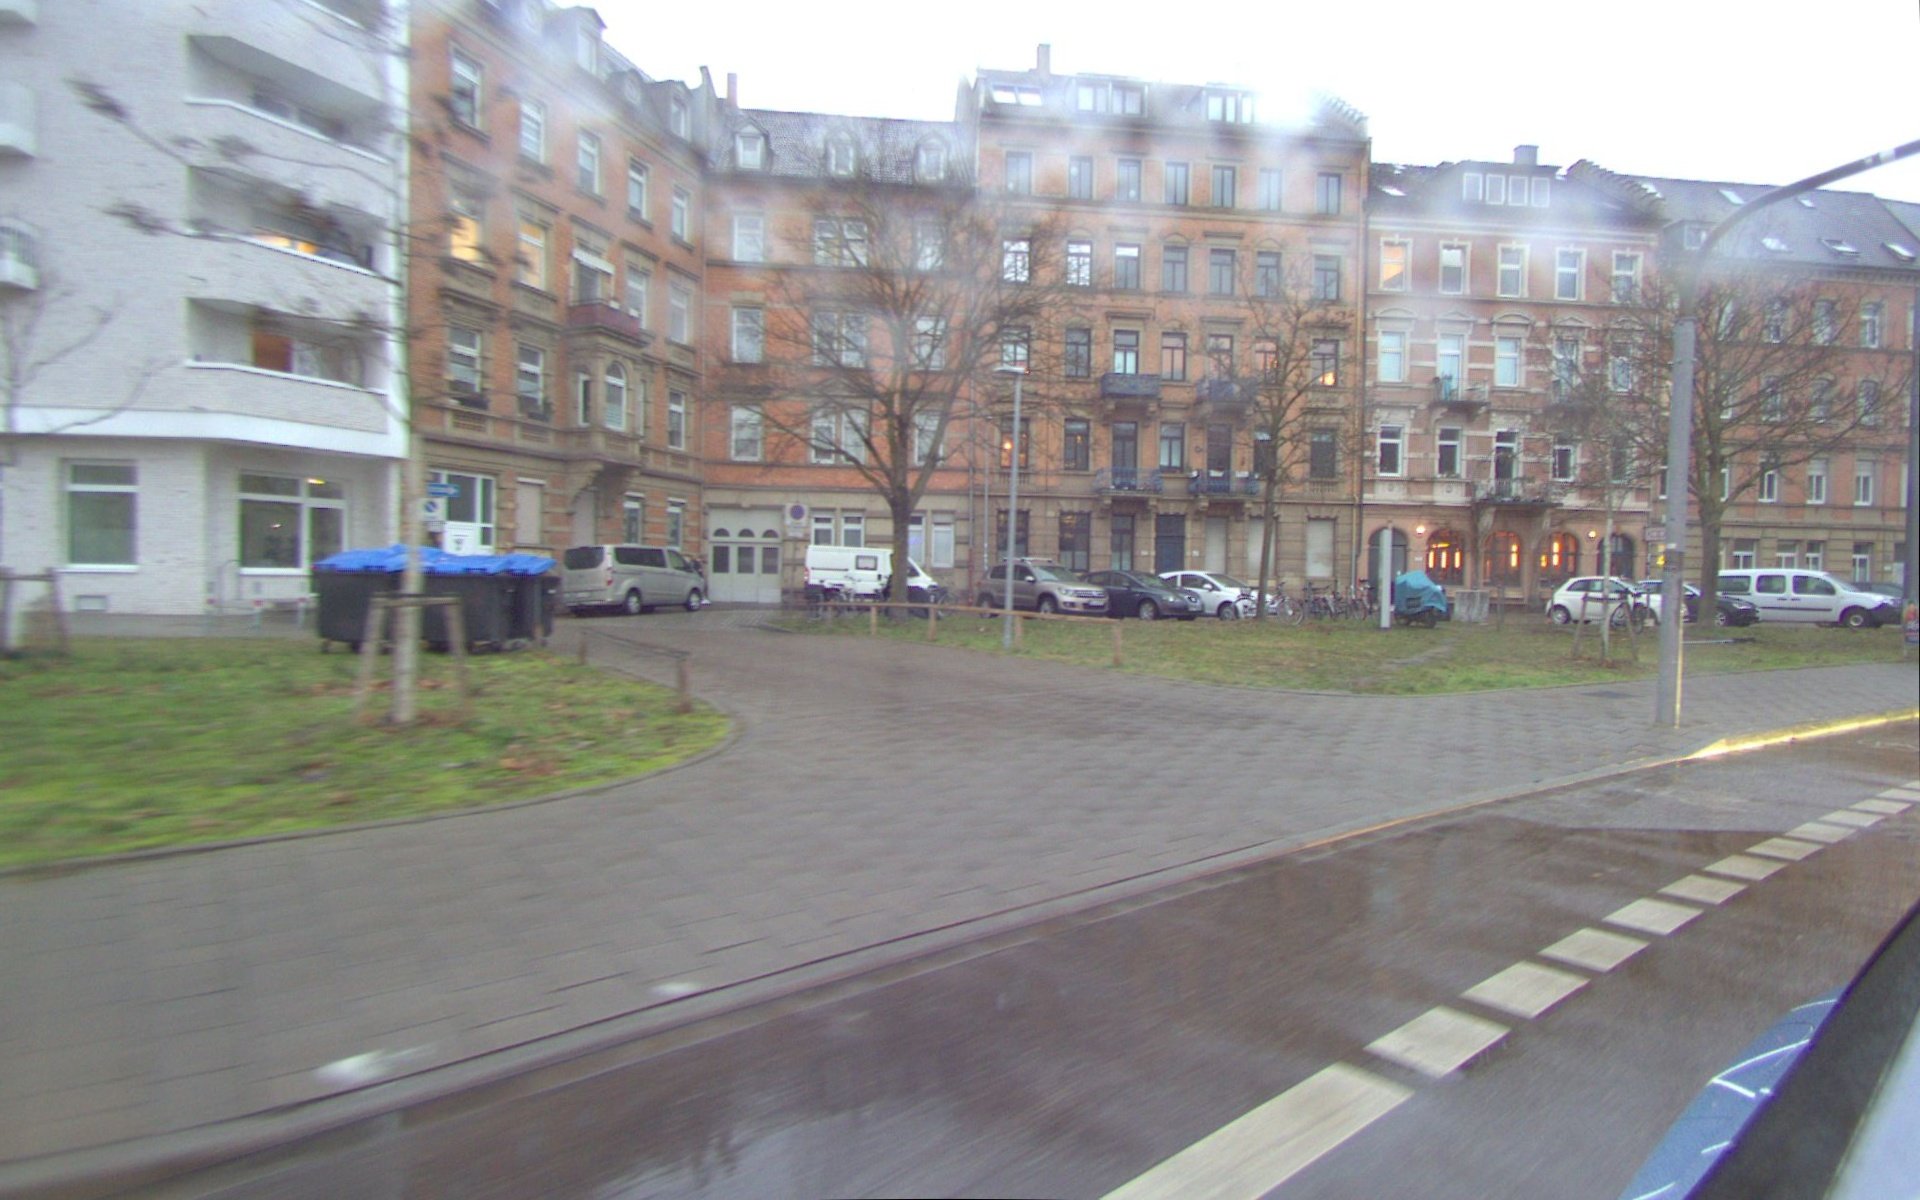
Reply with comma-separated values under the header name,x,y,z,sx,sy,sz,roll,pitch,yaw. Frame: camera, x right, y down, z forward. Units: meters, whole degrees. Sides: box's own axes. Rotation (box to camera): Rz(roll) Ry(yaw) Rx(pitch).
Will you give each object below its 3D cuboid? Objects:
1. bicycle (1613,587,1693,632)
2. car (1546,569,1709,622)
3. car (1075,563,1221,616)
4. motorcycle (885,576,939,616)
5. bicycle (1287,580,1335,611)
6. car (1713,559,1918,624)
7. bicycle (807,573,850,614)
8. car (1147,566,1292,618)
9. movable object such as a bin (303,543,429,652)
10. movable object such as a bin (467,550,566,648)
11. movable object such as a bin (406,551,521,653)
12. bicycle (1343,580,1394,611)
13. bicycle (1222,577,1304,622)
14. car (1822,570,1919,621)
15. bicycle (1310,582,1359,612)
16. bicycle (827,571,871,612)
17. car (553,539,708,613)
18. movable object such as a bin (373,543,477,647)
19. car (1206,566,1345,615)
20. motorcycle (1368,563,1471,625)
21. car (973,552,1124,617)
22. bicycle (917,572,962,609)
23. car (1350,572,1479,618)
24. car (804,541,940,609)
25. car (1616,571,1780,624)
name,x,y,z,sx,sy,sz,roll,pitch,yaw
bicycle,16.603,0.211,24.298,0.437,0.942,1.799,1,3,-8
car,19.419,-0.177,29.566,1.492,1.417,3.689,0,2,-35
car,5.001,-0.332,27.251,1.710,1.322,3.687,0,2,-37
motorcycle,-1.259,-0.121,26.217,0.503,0.942,1.796,0,4,-35
bicycle,10.442,-0.152,30.171,0.436,0.804,1.800,1,3,-12
car,25.247,-0.295,30.019,1.748,1.790,4.345,0,2,-36
bicycle,-3.407,-0.177,26.091,0.437,0.942,1.798,0,3,-30
car,7.143,-0.261,28.114,1.637,1.322,3.687,0,2,-37
movable object such as a bin,-8.656,-0.046,14.807,1.229,1.529,1.053,1,1,-1
movable object such as a bin,-7.062,-0.028,16.160,1.118,1.504,1.053,1,1,-1
movable object such as a bin,-7.350,0.015,15.044,1.202,1.450,1.053,1,1,-1
bicycle,12.263,-0.137,30.413,0.386,0.827,1.800,1,3,-15
bicycle,7.523,-0.023,25.171,1.879,1.031,0.535,2,3,14
car,28.260,-0.144,29.863,1.667,1.462,3.969,0,2,-31
bicycle,11.120,-0.105,30.103,0.436,0.787,1.800,1,3,-12
bicycle,-2.917,-0.237,26.391,0.437,0.942,1.798,0,3,-30
car,-9.445,-0.698,29.439,1.919,1.966,4.568,1,2,20
movable object such as a bin,-8.571,-0.093,16.257,1.118,1.595,1.053,1,1,-1
car,9.130,-0.313,29.504,1.493,1.322,3.687,0,2,-37
motorcycle,11.418,-0.175,25.253,0.866,1.362,2.365,0,4,-22
car,2.300,-0.452,27.174,1.710,1.589,4.156,0,2,-37
bicycle,-0.590,-0.278,28.152,0.437,0.942,1.798,0,3,-30
car,13.853,-0.184,30.958,1.492,1.322,3.301,0,2,-35
car,-3.106,-0.859,35.232,4.566,2.216,2.003,1,1,-8
car,22.004,-0.113,30.289,1.492,1.454,3.689,0,2,-35
